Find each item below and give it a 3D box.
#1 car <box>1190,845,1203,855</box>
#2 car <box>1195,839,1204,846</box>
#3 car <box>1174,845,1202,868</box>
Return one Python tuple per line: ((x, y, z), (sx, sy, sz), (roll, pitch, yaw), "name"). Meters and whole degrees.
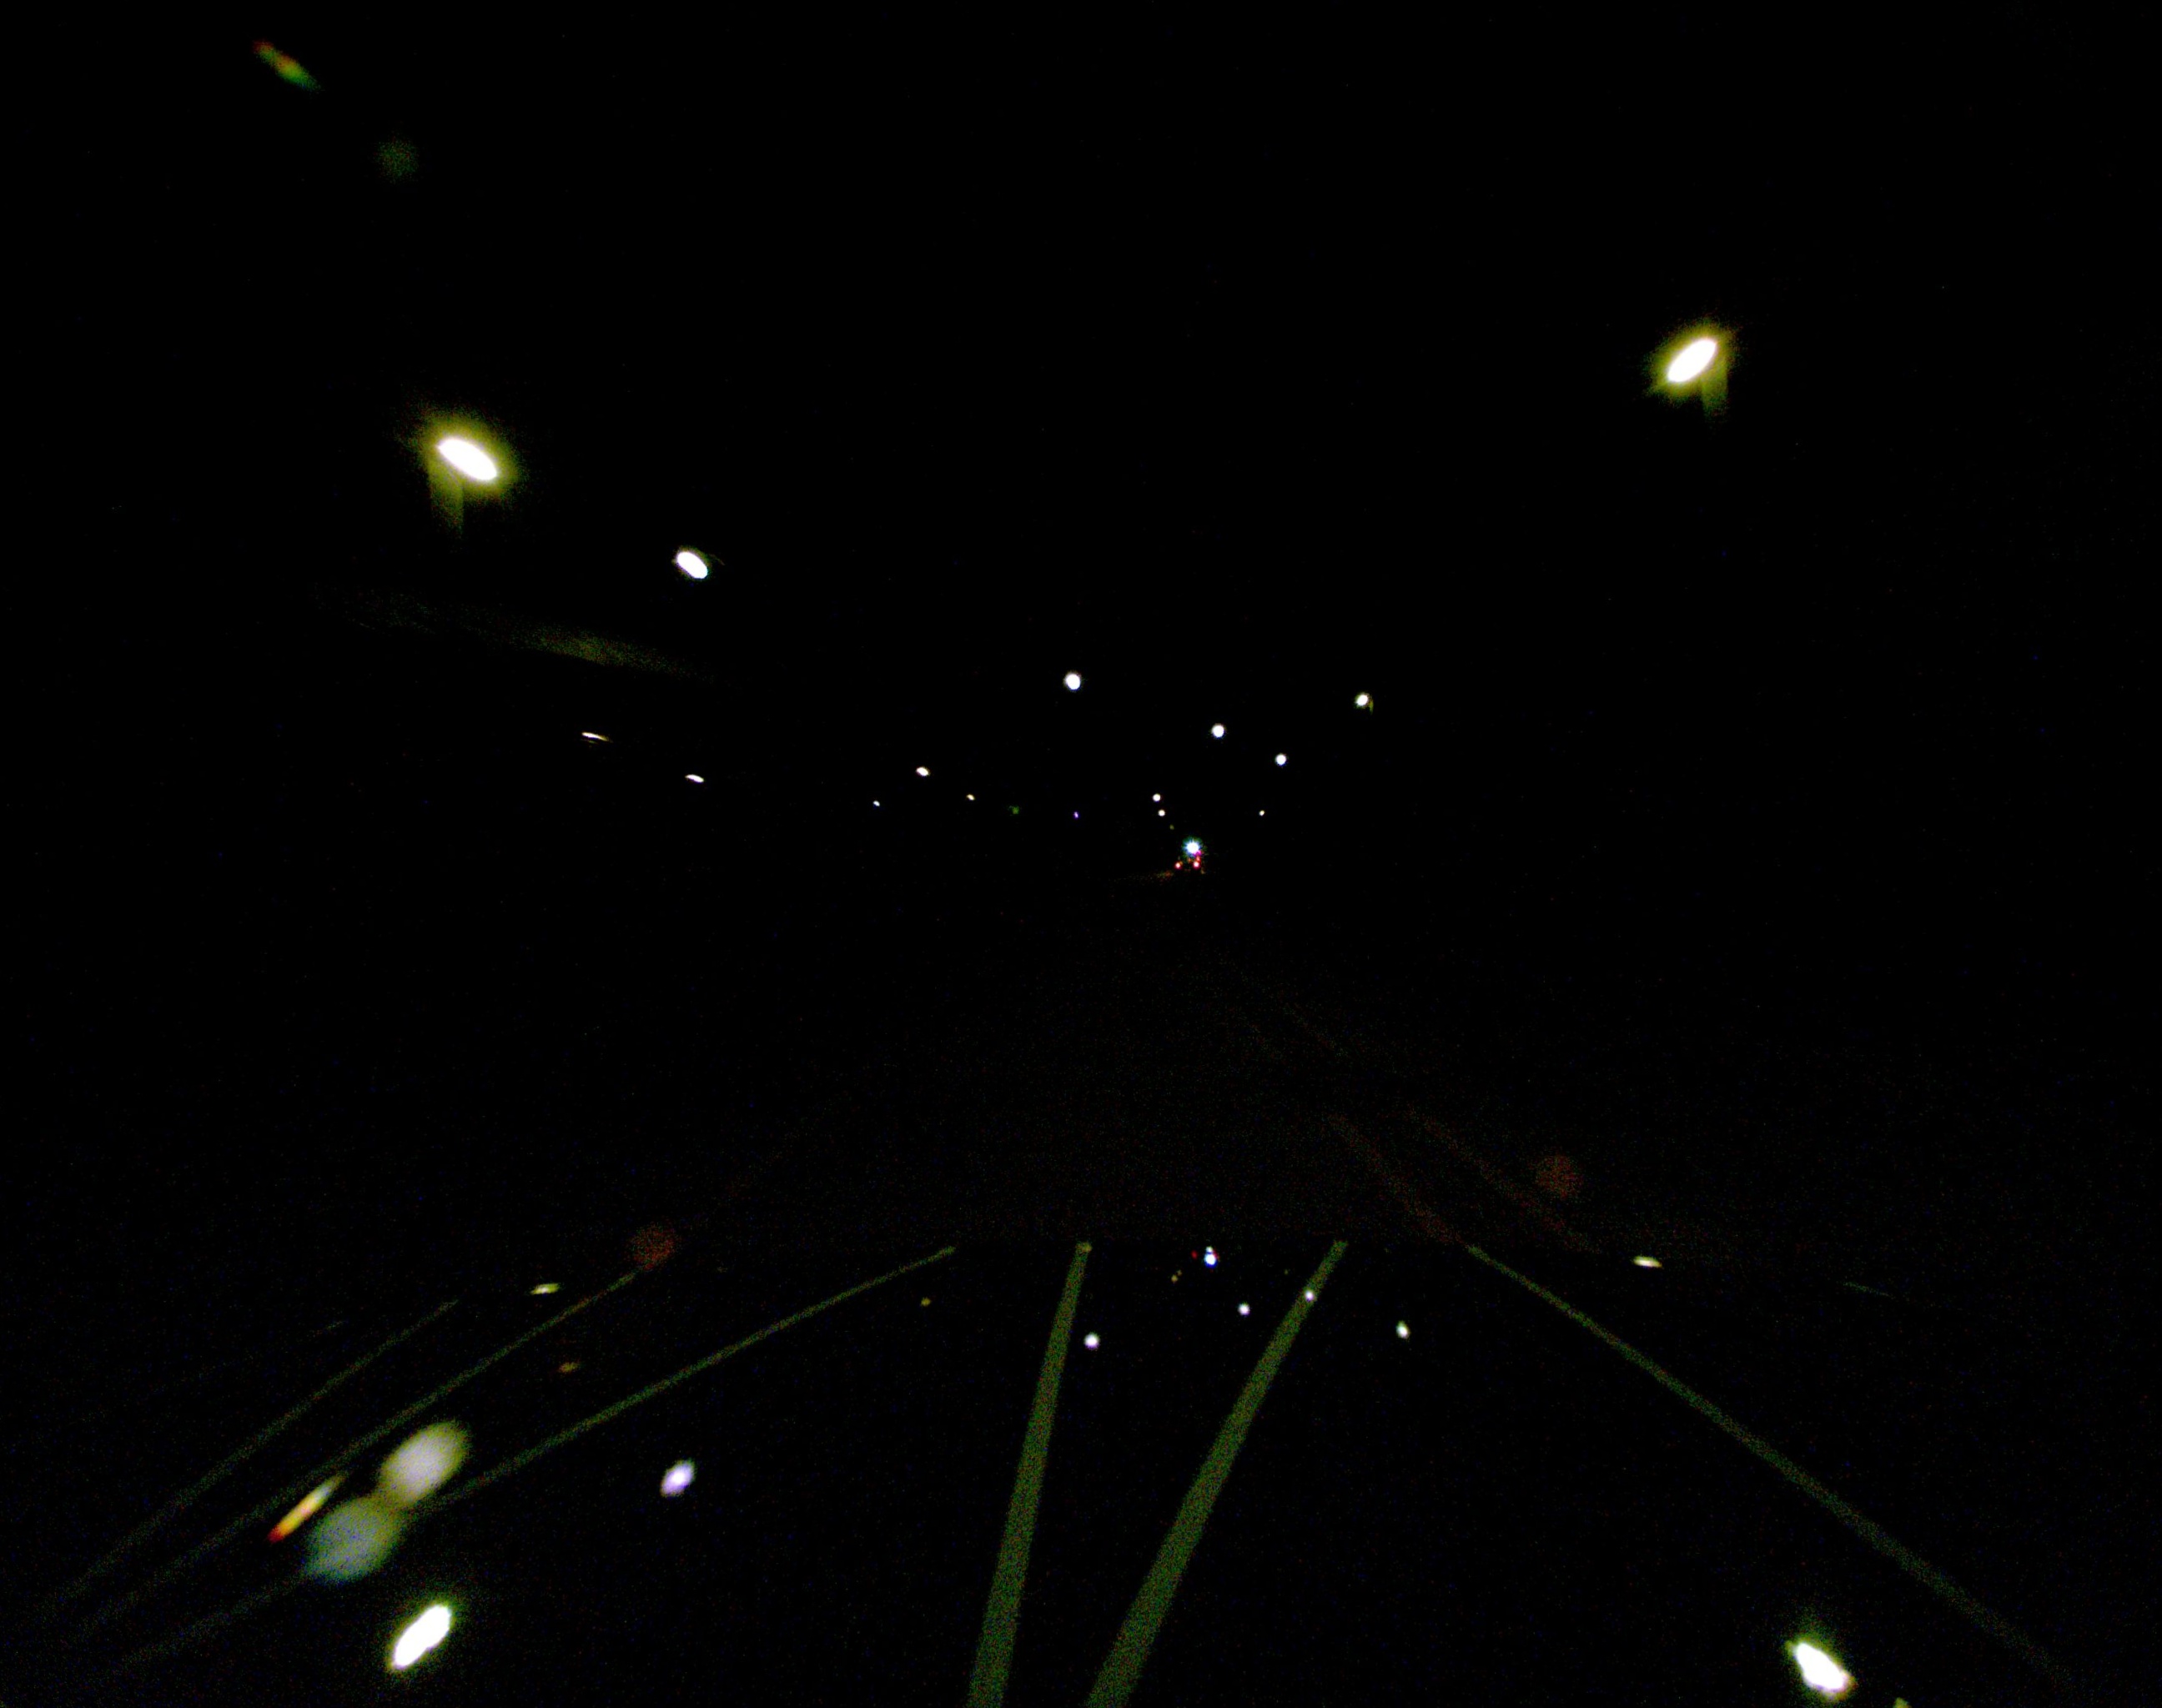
((18.810, -0.676, 123.530), (1.791, 1.439, 4.174), (-5, 1, 11), "car")
((29.214, -2.858, 187.312), (1.884, 1.545, 4.221), (-4, 1, 14), "car")
((7.864, 0.156, 56.274), (1.862, 1.501, 4.001), (-3, 1, 7), "car")
